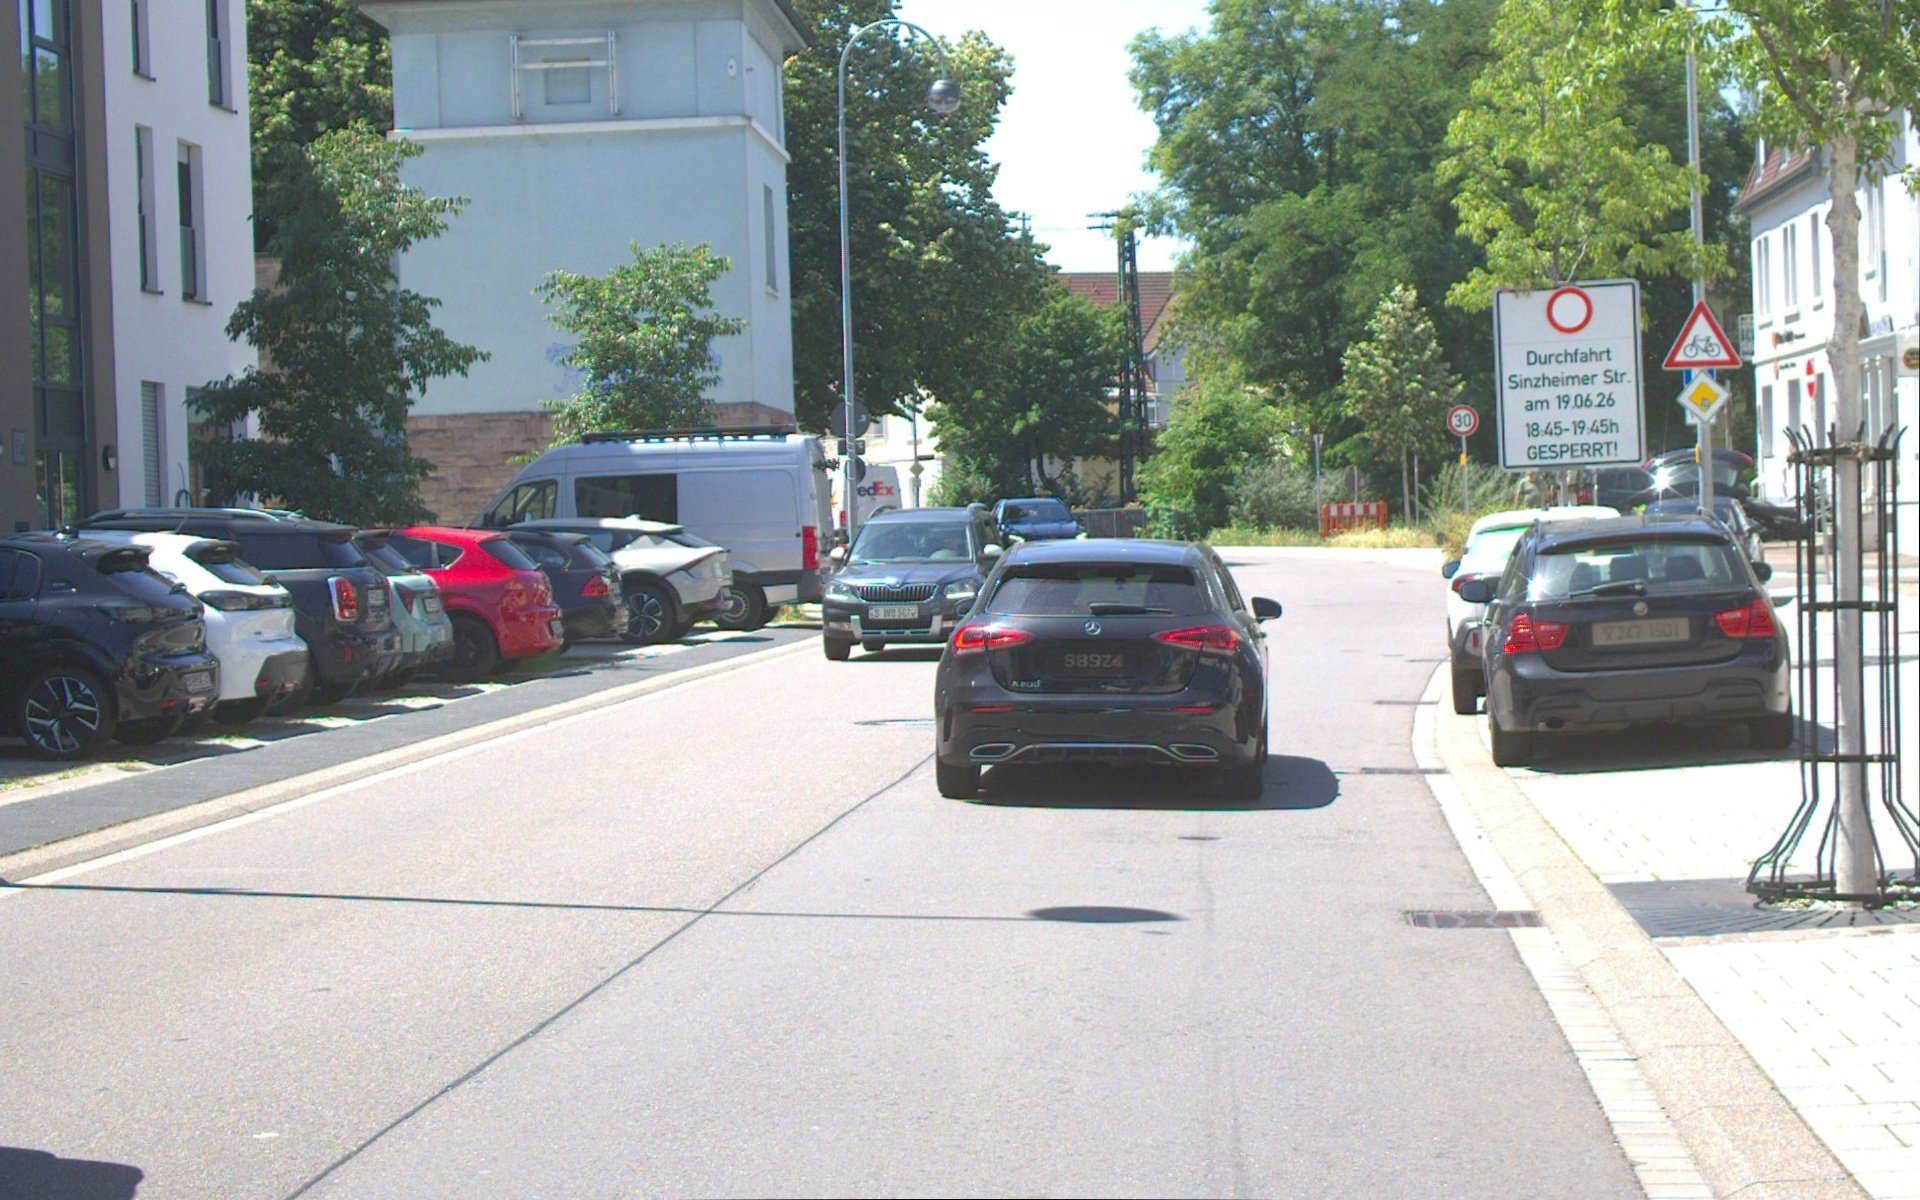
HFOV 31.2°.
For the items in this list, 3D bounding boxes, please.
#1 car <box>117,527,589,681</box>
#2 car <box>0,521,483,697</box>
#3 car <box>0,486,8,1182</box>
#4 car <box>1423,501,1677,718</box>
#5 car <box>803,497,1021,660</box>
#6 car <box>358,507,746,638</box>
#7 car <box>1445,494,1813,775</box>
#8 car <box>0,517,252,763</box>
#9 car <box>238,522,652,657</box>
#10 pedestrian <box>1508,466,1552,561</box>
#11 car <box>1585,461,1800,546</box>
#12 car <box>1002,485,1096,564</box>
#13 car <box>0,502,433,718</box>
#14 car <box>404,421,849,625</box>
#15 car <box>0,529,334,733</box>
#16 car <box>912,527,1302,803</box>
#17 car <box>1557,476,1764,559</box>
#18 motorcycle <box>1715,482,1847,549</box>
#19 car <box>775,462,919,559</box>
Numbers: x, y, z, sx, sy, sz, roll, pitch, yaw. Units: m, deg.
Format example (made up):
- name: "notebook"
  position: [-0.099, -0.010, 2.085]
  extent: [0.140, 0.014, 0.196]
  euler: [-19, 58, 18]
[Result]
- name: "car"
  position: [-5.765, 0.014, 32.947]
  extent: [4.033, 1.425, 2.000]
  euler: [0, 1, 8]
- name: "car"
  position: [-6.440, 0.051, 30.355]
  extent: [4.033, 1.491, 2.000]
  euler: [0, 1, 8]
- name: "car"
  position: [-3.417, 0.589, 6.170]
  extent: [1.942, 1.653, 4.235]
  euler: [0, 1, 5]
- name: "car"
  position: [4.673, 0.031, 27.083]
  extent: [1.738, 1.481, 4.052]
  euler: [-4, 1, 11]
- name: "car"
  position: [-0.476, -0.262, 38.394]
  extent: [1.811, 1.695, 4.075]
  euler: [-1, 1, 8]
- name: "car"
  position: [-5.013, -0.354, 42.626]
  extent: [4.454, 1.586, 2.000]
  euler: [0, 1, 5]
- name: "car"
  position: [4.050, 0.176, 21.407]
  extent: [1.833, 1.477, 4.095]
  euler: [-3, 0, 6]
- name: "car"
  position: [-6.942, 0.230, 22.782]
  extent: [3.988, 1.510, 2.000]
  euler: [0, 2, 6]
- name: "car"
  position: [-5.566, -0.129, 37.510]
  extent: [4.200, 1.432, 1.886]
  euler: [0, 1, 1]
- name: "pedestrian"
  position: [11.088, -1.689, 66.862]
  extent: [0.746, 1.790, 0.843]
  euler: [-1, 3, 13]
- name: "car"
  position: [15.004, -1.978, 70.560]
  extent: [4.075, 1.710, 1.856]
  euler: [0, 1, 4]
- name: "car"
  position: [1.853, -1.617, 72.157]
  extent: [1.893, 1.548, 4.799]
  euler: [1, 2, 1]
- name: "car"
  position: [-6.459, 0.055, 27.531]
  extent: [4.033, 1.645, 1.999]
  euler: [0, 1, 8]
- name: "car"
  position: [-4.545, -1.053, 47.429]
  extent: [5.768, 2.723, 2.291]
  euler: [0, 1, 6]
- name: "car"
  position: [-6.777, 0.194, 25.033]
  extent: [3.988, 1.416, 1.909]
  euler: [0, 1, 6]
- name: "car"
  position: [0.960, 0.339, 20.029]
  extent: [1.828, 1.437, 3.998]
  euler: [0, 0, 9]
- name: "car"
  position: [14.792, -1.747, 72.718]
  extent: [4.075, 1.710, 1.856]
  euler: [0, 1, 4]
- name: "motorcycle"
  position: [15.948, -1.643, 66.816]
  extent: [2.377, 1.271, 0.856]
  euler: [-1, 2, 5]
- name: "car"
  position: [-3.292, -2.561, 99.117]
  extent: [2.127, 2.621, 5.278]
  euler: [-2, 1, -25]
